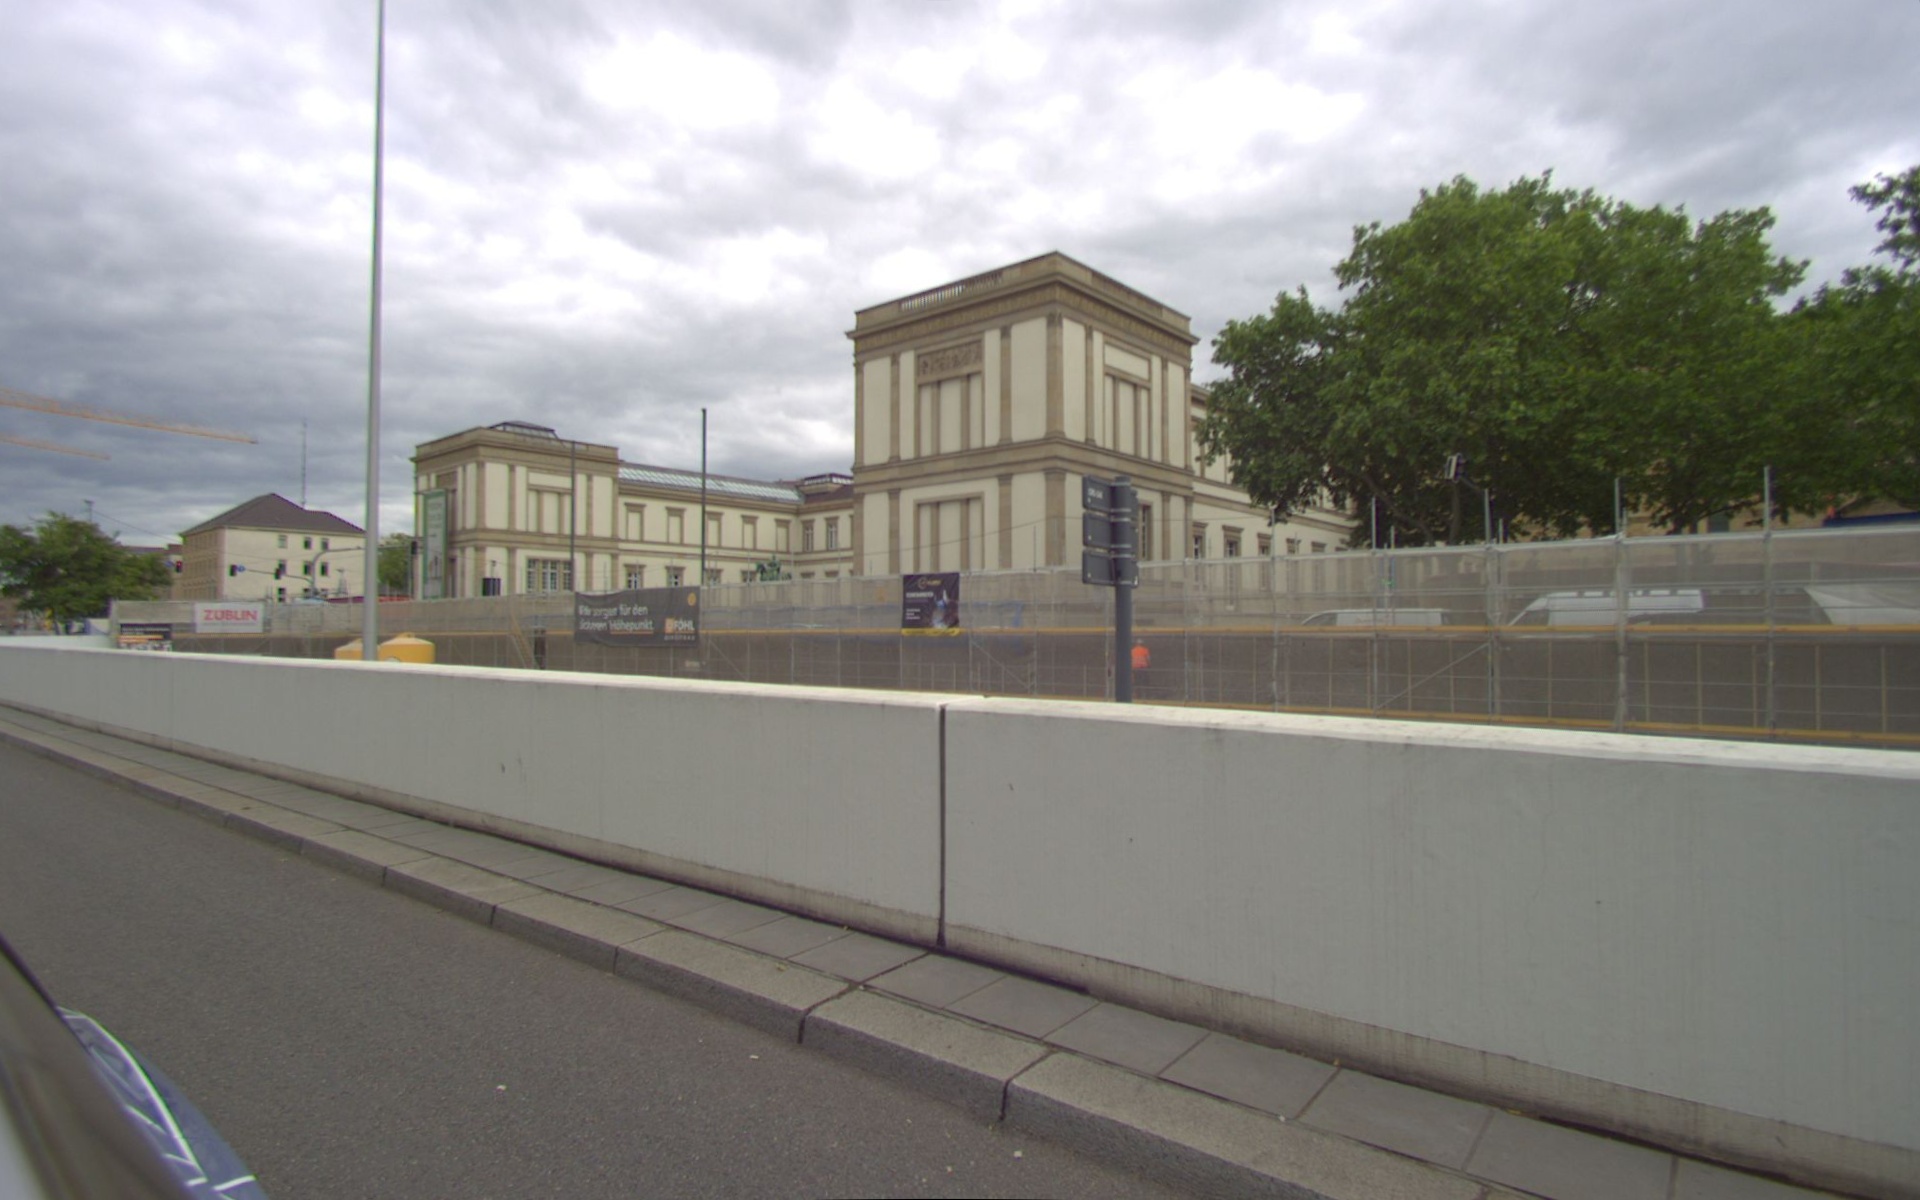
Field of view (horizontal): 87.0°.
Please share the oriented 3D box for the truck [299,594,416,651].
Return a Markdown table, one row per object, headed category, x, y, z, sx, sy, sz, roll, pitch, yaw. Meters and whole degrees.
| category | x | y | z | sx | sy | sz | roll | pitch | yaw |
| --- | --- | --- | --- | --- | --- | --- | --- | --- | --- |
| truck | -48.592 | 1.990 | 81.175 | 16.602 | 4.114 | 2.887 | -3 | -4 | 41 |
